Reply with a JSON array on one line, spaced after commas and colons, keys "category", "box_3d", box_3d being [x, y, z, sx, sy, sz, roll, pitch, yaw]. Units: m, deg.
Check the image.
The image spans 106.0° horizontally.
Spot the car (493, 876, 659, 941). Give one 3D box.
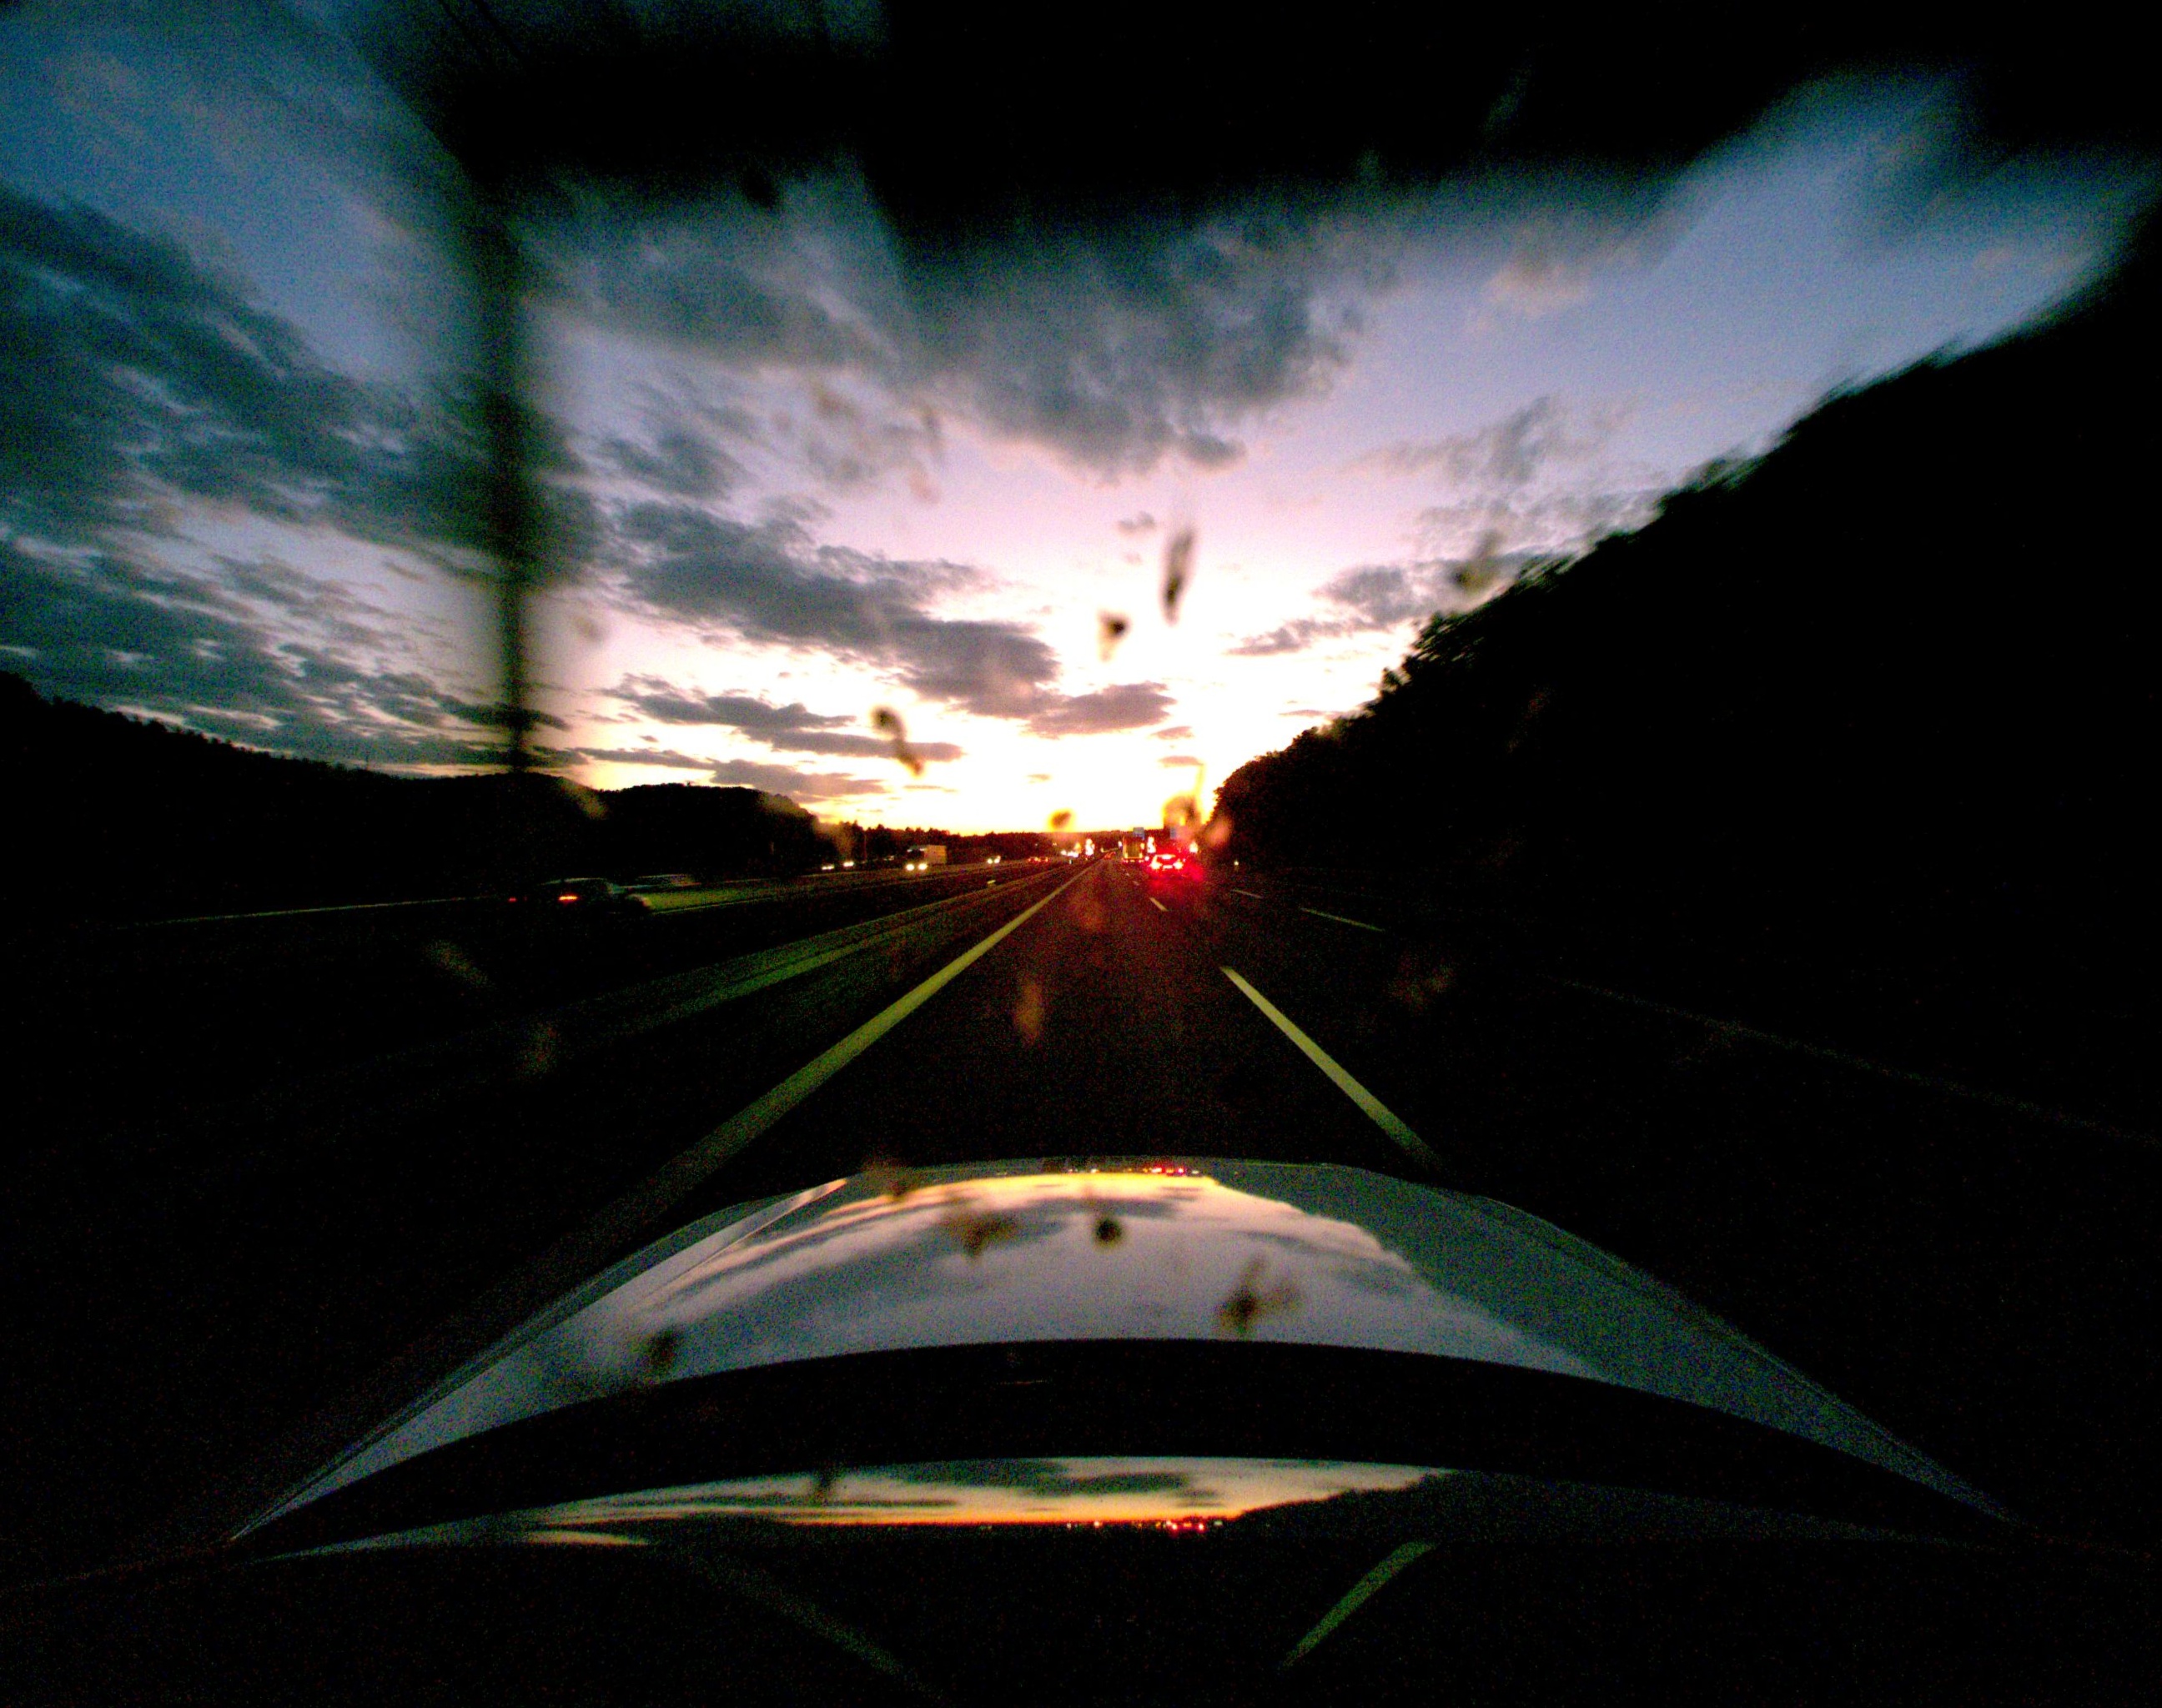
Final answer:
[{"category": "car", "box_3d": [-14.548, 1.505, 23.813, 1.865, 1.561, 4.521, -3, 0, 2]}]

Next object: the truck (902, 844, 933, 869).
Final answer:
[{"category": "truck", "box_3d": [-24.687, 0.411, 123.120, 3.298, 3.619, 5.498, -3, -1, 1]}]

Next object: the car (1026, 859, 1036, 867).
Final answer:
[{"category": "car", "box_3d": [-10.058, 1.797, 165.257, 1.632, 1.546, 3.396, -3, 0, 2]}]

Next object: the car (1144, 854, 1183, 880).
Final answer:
[{"category": "car", "box_3d": [4.994, 0.773, 49.714, 1.909, 1.442, 4.000, -3, 0, 0]}]

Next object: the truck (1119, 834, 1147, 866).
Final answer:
[{"category": "truck", "box_3d": [7.573, -0.496, 119.828, 3.497, 4.301, 9.894, -3, 0, 1]}]

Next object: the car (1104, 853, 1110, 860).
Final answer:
[{"category": "car", "box_3d": [8.418, 0.889, 262.340, 1.986, 2.013, 4.001, -3, 0, 2]}]

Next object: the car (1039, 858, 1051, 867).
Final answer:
[{"category": "car", "box_3d": [-6.580, 1.530, 148.728, 1.706, 1.605, 3.723, -3, 0, 2]}]

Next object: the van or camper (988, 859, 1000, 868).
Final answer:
[{"category": "van or camper", "box_3d": [-18.810, 1.965, 175.864, 1.884, 1.907, 5.540, -2, 0, 0]}]
